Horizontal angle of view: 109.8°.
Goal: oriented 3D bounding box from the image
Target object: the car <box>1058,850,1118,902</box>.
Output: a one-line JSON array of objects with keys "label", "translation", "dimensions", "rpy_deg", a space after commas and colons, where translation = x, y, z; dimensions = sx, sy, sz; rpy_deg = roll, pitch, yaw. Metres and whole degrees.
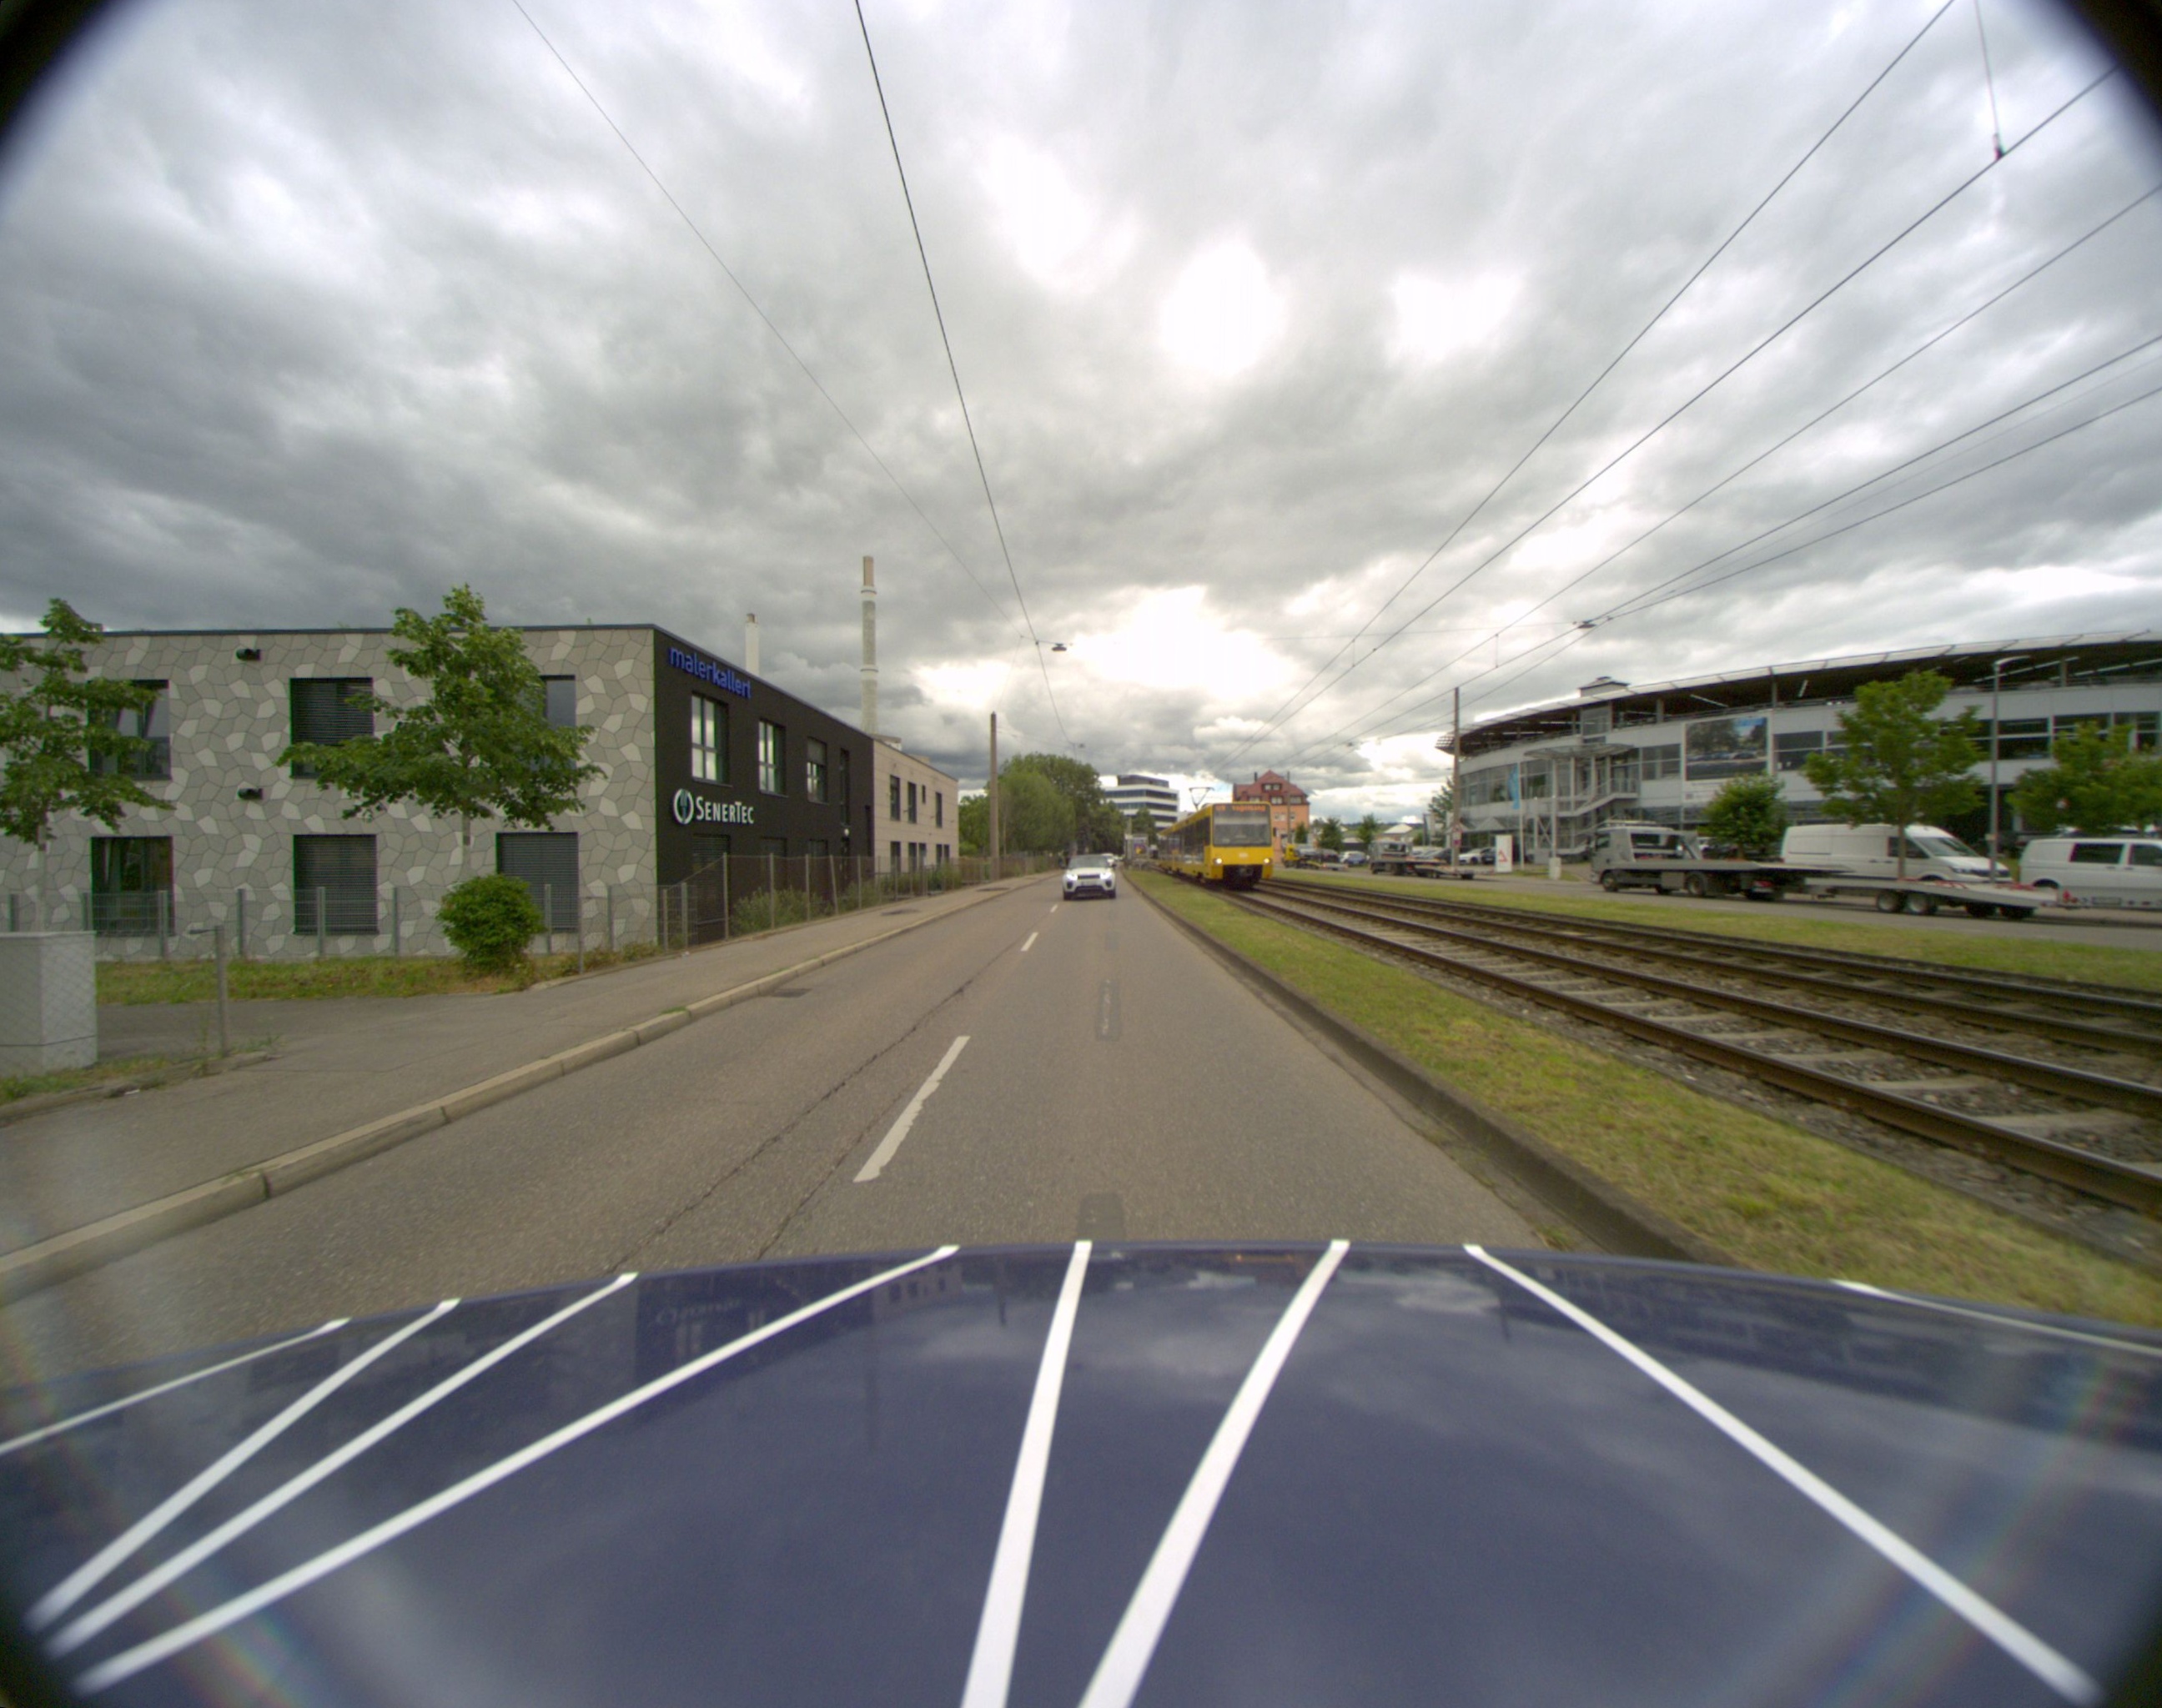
[{"label": "car", "translation": [0.356, 0.779, 28.591], "dimensions": [1.998, 1.718, 4.001], "rpy_deg": [-3, 0, 3]}]

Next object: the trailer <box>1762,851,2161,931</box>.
[{"label": "trailer", "translation": [20.645, 0.722, 18.083], "dimensions": [2.763, 1.486, 7.227], "rpy_deg": [2, 0, 5]}]

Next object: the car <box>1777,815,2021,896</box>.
[{"label": "car", "translation": [28.823, 0.036, 27.179], "dimensions": [2.000, 2.546, 5.859], "rpy_deg": [-1, 0, -7]}]

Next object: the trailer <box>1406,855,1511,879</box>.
[{"label": "trailer", "translation": [22.399, 0.722, 45.580], "dimensions": [3.056, 1.270, 7.008], "rpy_deg": [1, 0, 3]}]

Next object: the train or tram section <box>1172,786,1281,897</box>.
[{"label": "train or tram section", "translation": [6.402, -0.582, 36.635], "dimensions": [3.395, 3.984, 16.948], "rpy_deg": [-2, 1, 5]}]

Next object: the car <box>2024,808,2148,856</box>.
[{"label": "car", "translation": [45.293, -0.951, 34.393], "dimensions": [1.994, 2.002, 4.007], "rpy_deg": [0, 1, 31]}]

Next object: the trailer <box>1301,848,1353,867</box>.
[{"label": "trailer", "translation": [23.716, 0.295, 73.709], "dimensions": [2.984, 1.678, 7.570], "rpy_deg": [-1, 0, 4]}]

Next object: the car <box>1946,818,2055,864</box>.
[{"label": "car", "translation": [42.931, -0.594, 35.613], "dimensions": [1.994, 2.002, 4.008], "rpy_deg": [0, 0, 31]}]

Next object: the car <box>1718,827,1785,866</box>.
[{"label": "car", "translation": [35.922, -0.396, 40.828], "dimensions": [1.994, 2.002, 4.008], "rpy_deg": [0, 0, 31]}]

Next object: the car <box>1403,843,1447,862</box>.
[{"label": "car", "translation": [35.065, -0.153, 77.480], "dimensions": [3.990, 1.936, 2.003], "rpy_deg": [-1, 0, 24]}]

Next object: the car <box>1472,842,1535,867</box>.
[{"label": "car", "translation": [33.706, 0.026, 60.652], "dimensions": [4.000, 1.936, 1.998], "rpy_deg": [-1, 0, -10]}]

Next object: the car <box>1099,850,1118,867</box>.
[{"label": "car", "translation": [3.044, 0.488, 85.128], "dimensions": [1.998, 1.881, 4.627], "rpy_deg": [-1, 0, 1]}]

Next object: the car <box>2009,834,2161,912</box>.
[{"label": "car", "translation": [29.136, 0.476, 20.706], "dimensions": [1.998, 2.002, 4.809], "rpy_deg": [-1, 0, 4]}]

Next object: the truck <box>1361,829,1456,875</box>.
[{"label": "truck", "translation": [22.778, -0.152, 53.554], "dimensions": [3.114, 2.905, 8.963], "rpy_deg": [1, 0, 3]}]

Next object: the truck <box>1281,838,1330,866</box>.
[{"label": "truck", "translation": [24.090, -0.235, 82.030], "dimensions": [3.056, 2.843, 9.069], "rpy_deg": [-1, 0, 4]}]

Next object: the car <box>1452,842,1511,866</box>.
[{"label": "car", "translation": [33.666, -0.030, 63.880], "dimensions": [4.000, 1.936, 1.998], "rpy_deg": [-1, 0, -10]}]

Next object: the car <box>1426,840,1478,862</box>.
[{"label": "car", "translation": [34.007, -0.272, 69.732], "dimensions": [3.992, 1.936, 2.002], "rpy_deg": [-1, 0, 15]}]

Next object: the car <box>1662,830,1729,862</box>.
[{"label": "car", "translation": [39.664, -0.526, 49.025], "dimensions": [4.006, 2.002, 1.995], "rpy_deg": [-1, 0, -29]}]

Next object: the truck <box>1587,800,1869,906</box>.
[{"label": "truck", "translation": [21.249, -0.043, 25.909], "dimensions": [2.870, 2.964, 8.457], "rpy_deg": [1, 0, 5]}]

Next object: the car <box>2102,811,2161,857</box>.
[{"label": "car", "translation": [49.140, -0.891, 34.460], "dimensions": [1.994, 2.002, 4.007], "rpy_deg": [0, 1, 31]}]
